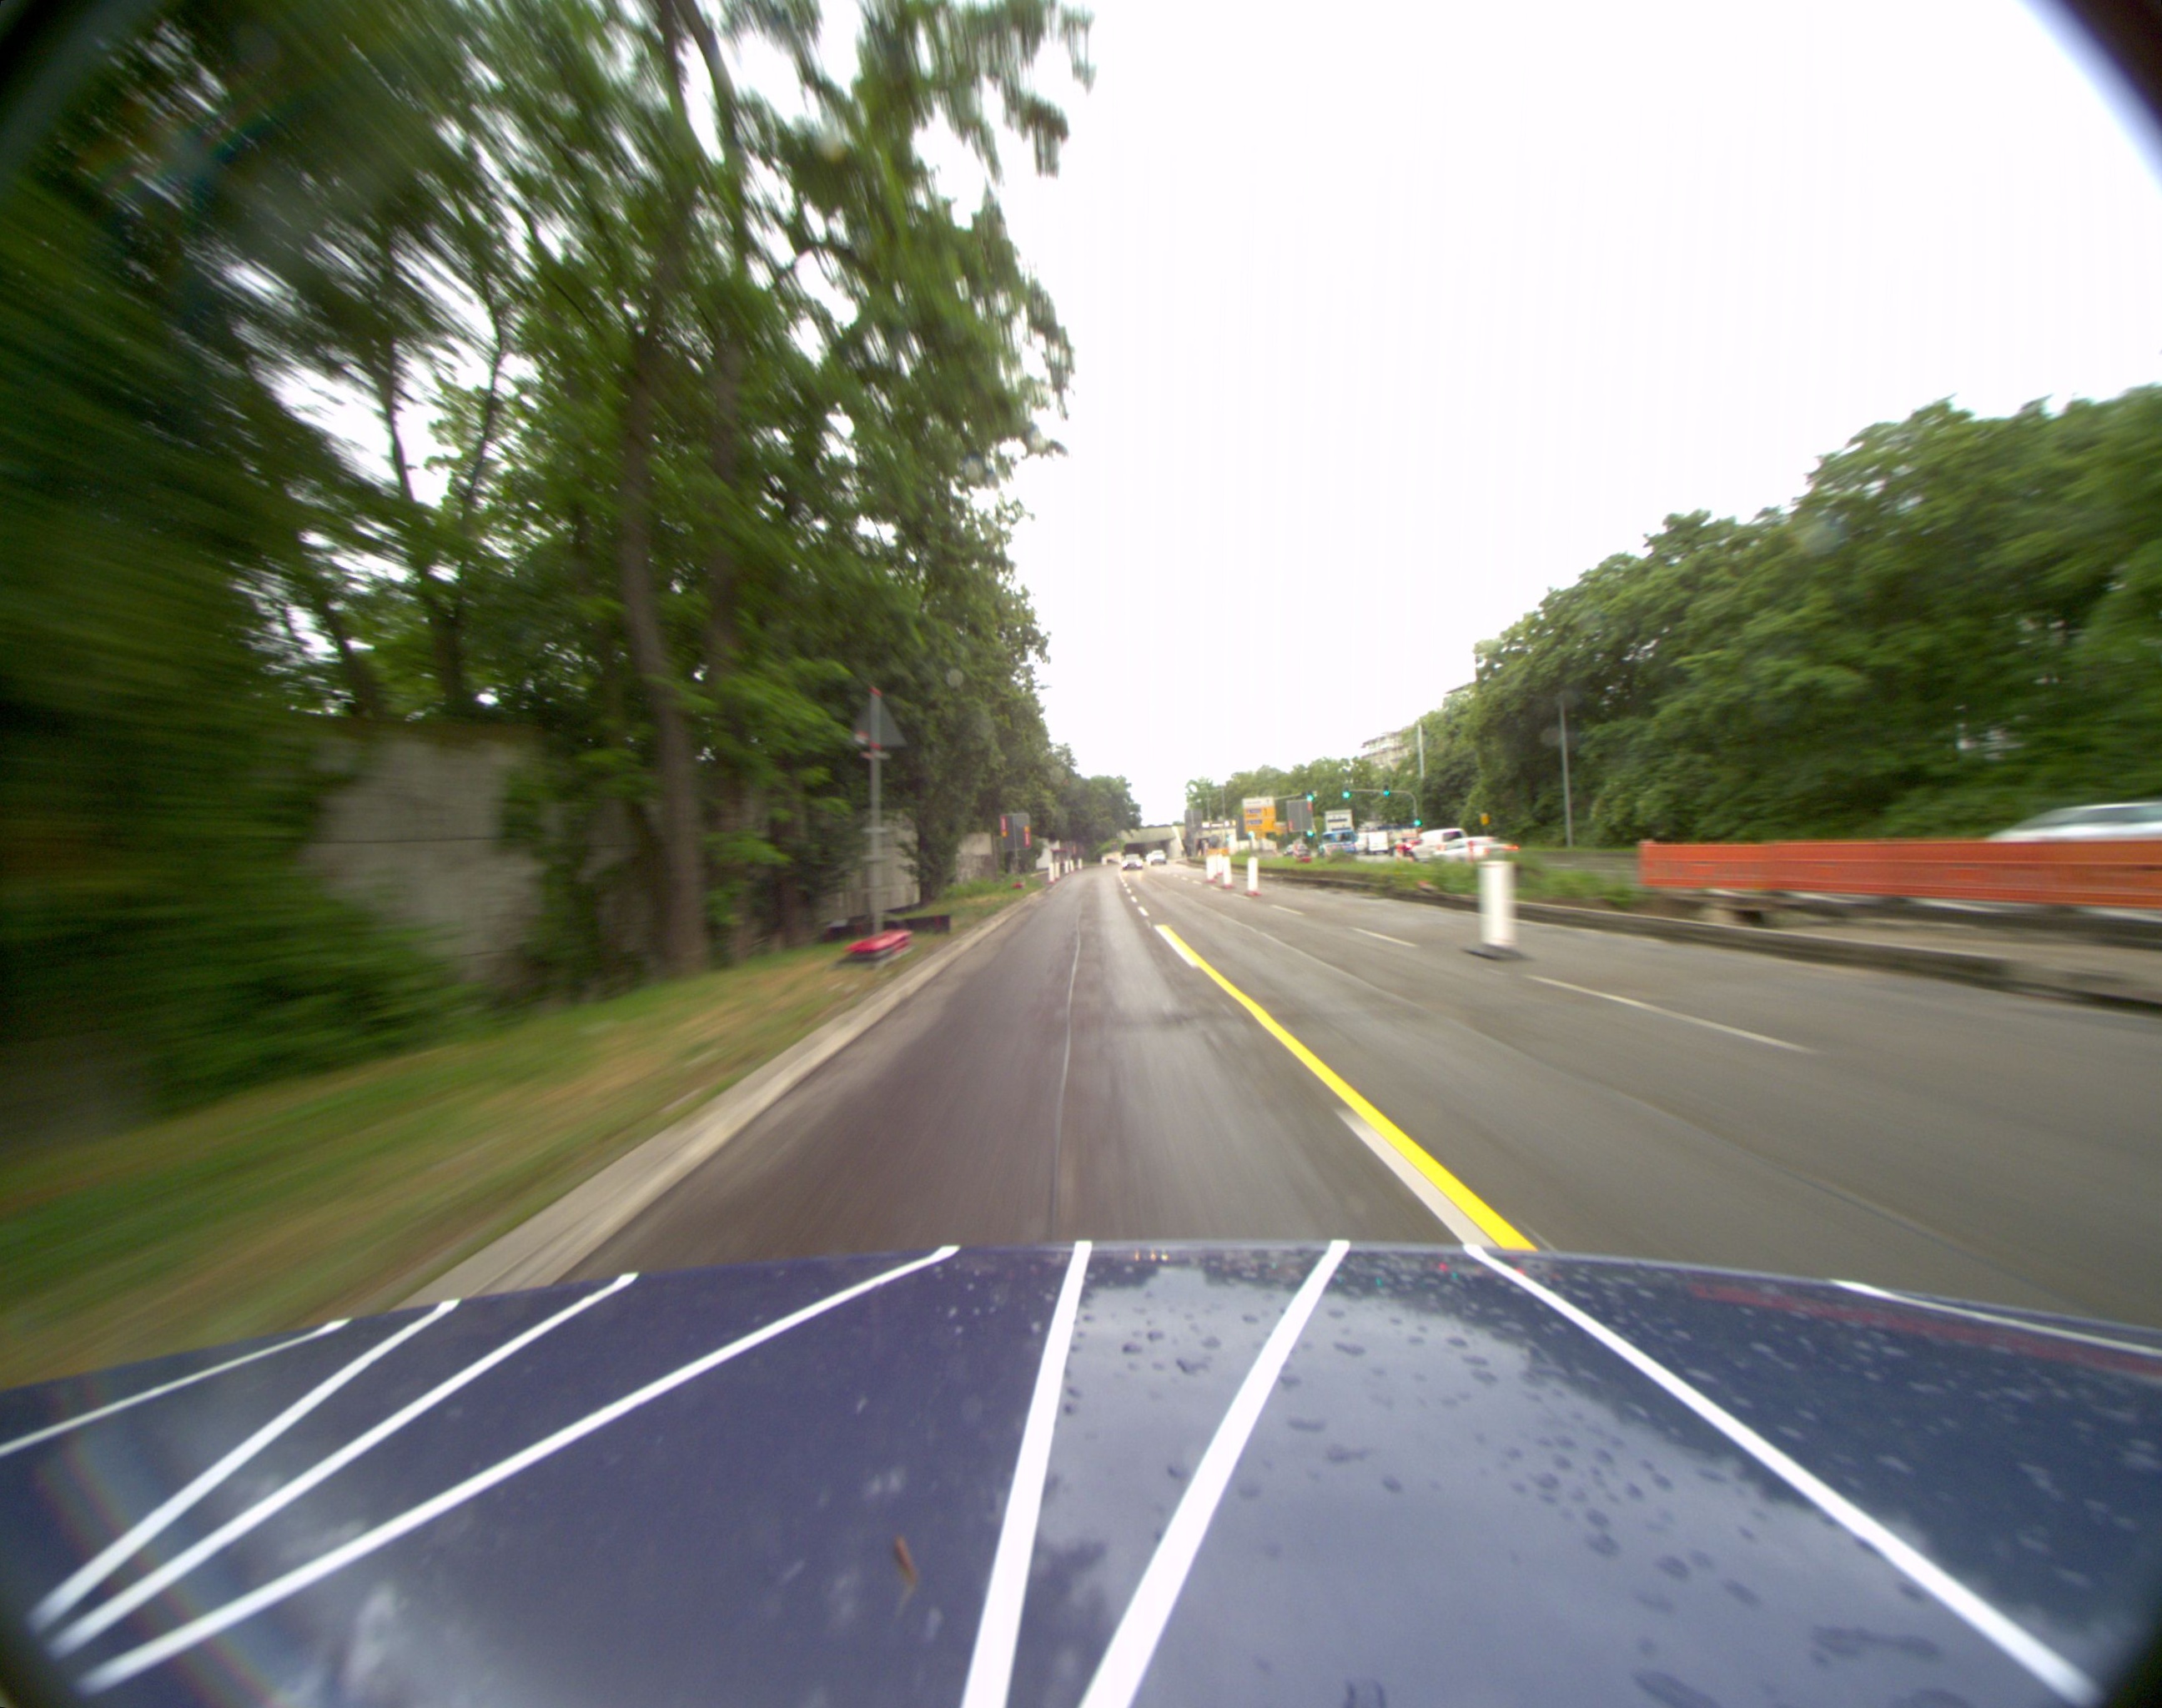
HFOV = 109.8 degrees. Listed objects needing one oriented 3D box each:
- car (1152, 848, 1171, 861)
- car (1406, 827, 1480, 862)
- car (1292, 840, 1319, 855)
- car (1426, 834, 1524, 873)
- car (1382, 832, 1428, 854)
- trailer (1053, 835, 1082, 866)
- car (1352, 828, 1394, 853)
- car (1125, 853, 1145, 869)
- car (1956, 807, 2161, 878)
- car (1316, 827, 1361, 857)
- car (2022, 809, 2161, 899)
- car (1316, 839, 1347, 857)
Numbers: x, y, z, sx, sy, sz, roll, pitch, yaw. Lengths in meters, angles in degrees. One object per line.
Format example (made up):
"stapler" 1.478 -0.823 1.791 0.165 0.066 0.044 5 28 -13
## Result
"car" 9.279 0.052 88.068 1.698 1.300 3.825 -3 0 0
"car" 20.747 -0.511 43.761 1.919 1.771 4.834 -3 0 1
"car" 20.207 -0.592 68.474 1.552 1.193 4.648 -4 0 7
"car" 16.875 -0.016 32.817 1.860 1.477 4.679 -3 0 2
"car" 24.617 -0.821 57.832 1.797 1.514 4.635 -4 0 5
"trailer" -1.604 -0.461 92.395 2.312 3.568 5.963 -2 1 9
"car" 26.120 -1.155 68.112 2.039 1.962 4.992 -4 -1 5
"car" 5.189 0.668 72.775 1.697 1.393 3.825 -3 0 2
"car" 22.496 -0.276 16.806 1.795 1.417 3.896 -3 0 1
"car" 22.714 -1.000 67.272 2.200 2.376 6.246 -4 -1 5
"car" 19.493 -0.029 12.980 1.839 1.541 4.040 -3 0 1
"car" 18.736 -0.431 56.915 1.432 1.193 3.301 -4 0 5
